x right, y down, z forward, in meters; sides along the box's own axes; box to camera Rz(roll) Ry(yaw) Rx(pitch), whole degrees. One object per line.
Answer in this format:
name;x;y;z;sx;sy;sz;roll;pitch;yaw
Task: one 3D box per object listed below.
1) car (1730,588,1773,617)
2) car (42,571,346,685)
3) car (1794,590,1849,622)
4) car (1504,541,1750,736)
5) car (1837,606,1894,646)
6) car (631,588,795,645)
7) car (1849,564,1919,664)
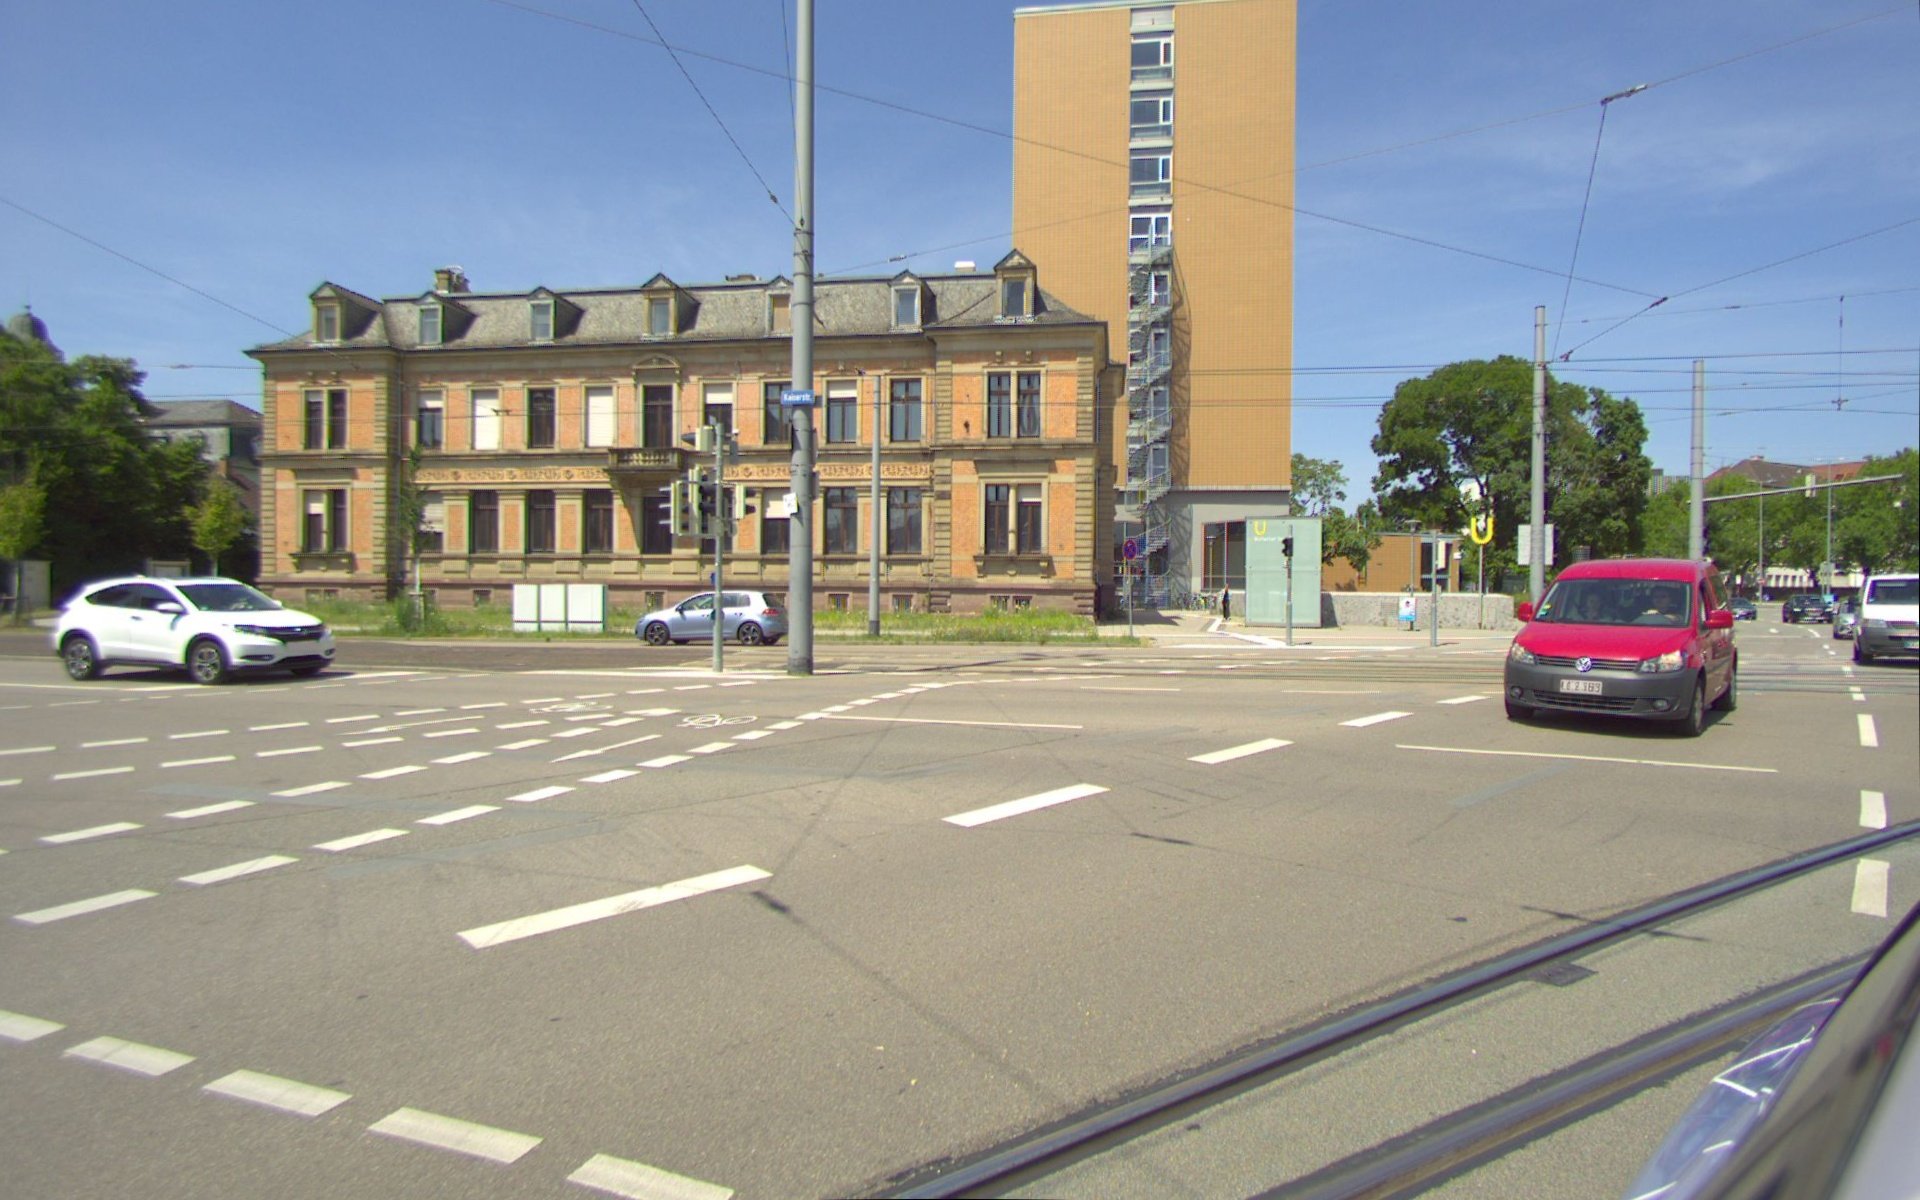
car;52.074;0.121;66.645;1.987;1.864;3.950;1;1;35
car;-11.992;0.375;15.899;4.117;1.625;1.700;0;1;16
car;49.074;0.285;57.704;1.987;1.746;3.950;1;1;35
car;7.747;0.336;11.590;1.750;1.835;4.034;0;1;43
car;34.396;0.959;38.494;1.566;1.371;3.407;1;1;41
car;-6.500;0.414;26.801;3.932;1.438;1.614;0;0;8
car;20.332;0.259;21.381;1.863;1.990;3.776;0;1;35
